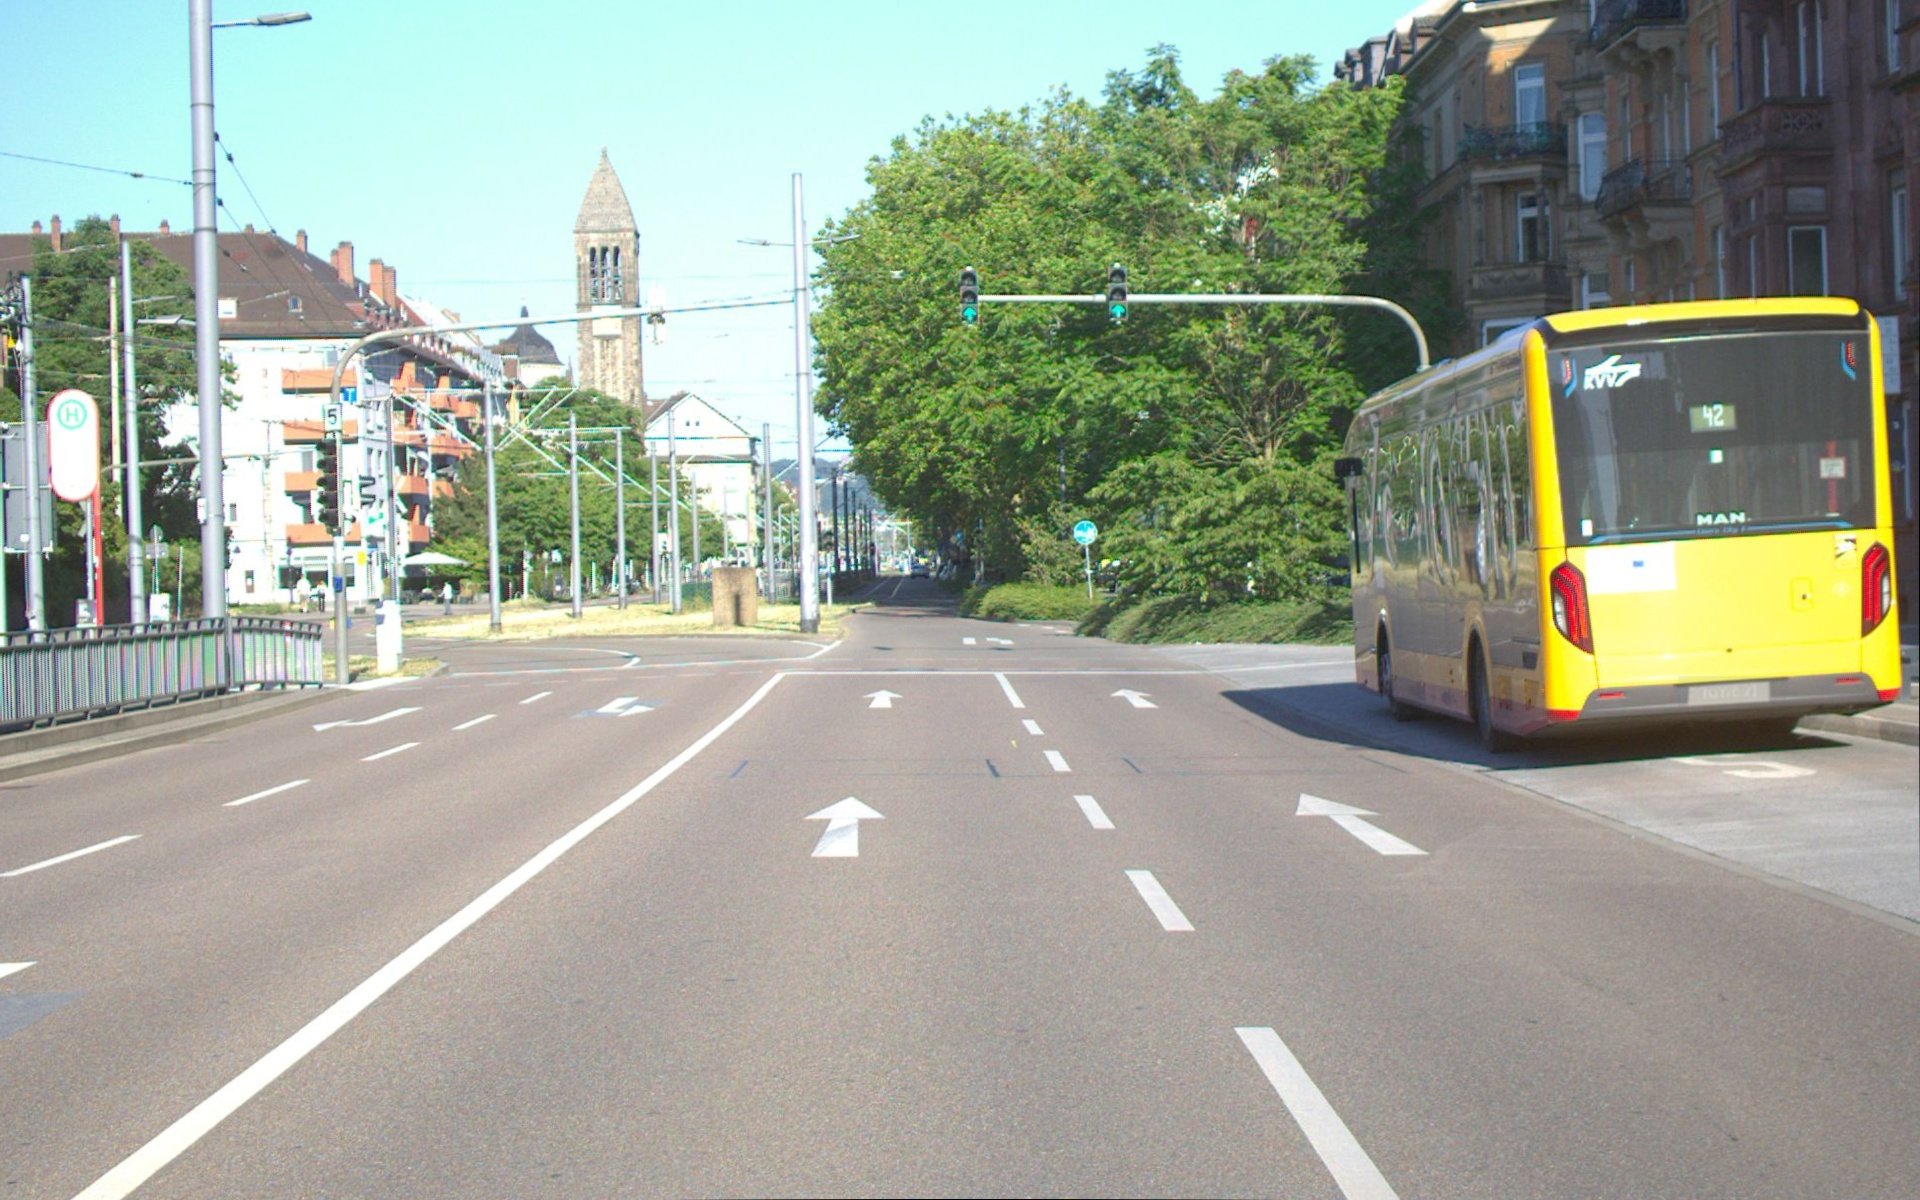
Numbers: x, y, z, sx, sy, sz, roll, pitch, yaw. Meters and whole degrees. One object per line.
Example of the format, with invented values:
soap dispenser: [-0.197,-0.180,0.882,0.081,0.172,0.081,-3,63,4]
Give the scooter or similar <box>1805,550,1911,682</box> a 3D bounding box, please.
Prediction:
scooter or similar: [8.747,0.157,33.526,0.431,1.245,1.295,-3,0,-10]

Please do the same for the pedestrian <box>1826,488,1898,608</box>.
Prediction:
pedestrian: [14.828,-0.857,56.524,0.822,1.923,1.137,-2,1,-1]

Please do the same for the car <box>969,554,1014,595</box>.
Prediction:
car: [1.240,-1.032,136.092,1.643,1.506,4.183,-3,1,0]

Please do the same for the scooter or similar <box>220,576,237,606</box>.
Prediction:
scooter or similar: [-32.783,-0.400,154.107,0.401,1.256,1.231,-3,3,0]

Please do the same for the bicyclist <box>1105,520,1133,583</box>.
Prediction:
bicyclist: [4.674,-1.410,101.096,0.641,1.808,1.052,-3,0,-1]

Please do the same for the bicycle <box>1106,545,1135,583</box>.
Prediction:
bicycle: [4.694,-1.044,100.916,0.641,1.044,2.360,-3,0,-1]

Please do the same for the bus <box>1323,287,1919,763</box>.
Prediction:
bus: [5.333,-0.615,30.065,2.715,3.170,12.542,-3,1,-1]

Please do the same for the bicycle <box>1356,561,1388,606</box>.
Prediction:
bicycle: [10.510,-0.425,87.656,0.518,1.044,1.821,-3,3,-1]
